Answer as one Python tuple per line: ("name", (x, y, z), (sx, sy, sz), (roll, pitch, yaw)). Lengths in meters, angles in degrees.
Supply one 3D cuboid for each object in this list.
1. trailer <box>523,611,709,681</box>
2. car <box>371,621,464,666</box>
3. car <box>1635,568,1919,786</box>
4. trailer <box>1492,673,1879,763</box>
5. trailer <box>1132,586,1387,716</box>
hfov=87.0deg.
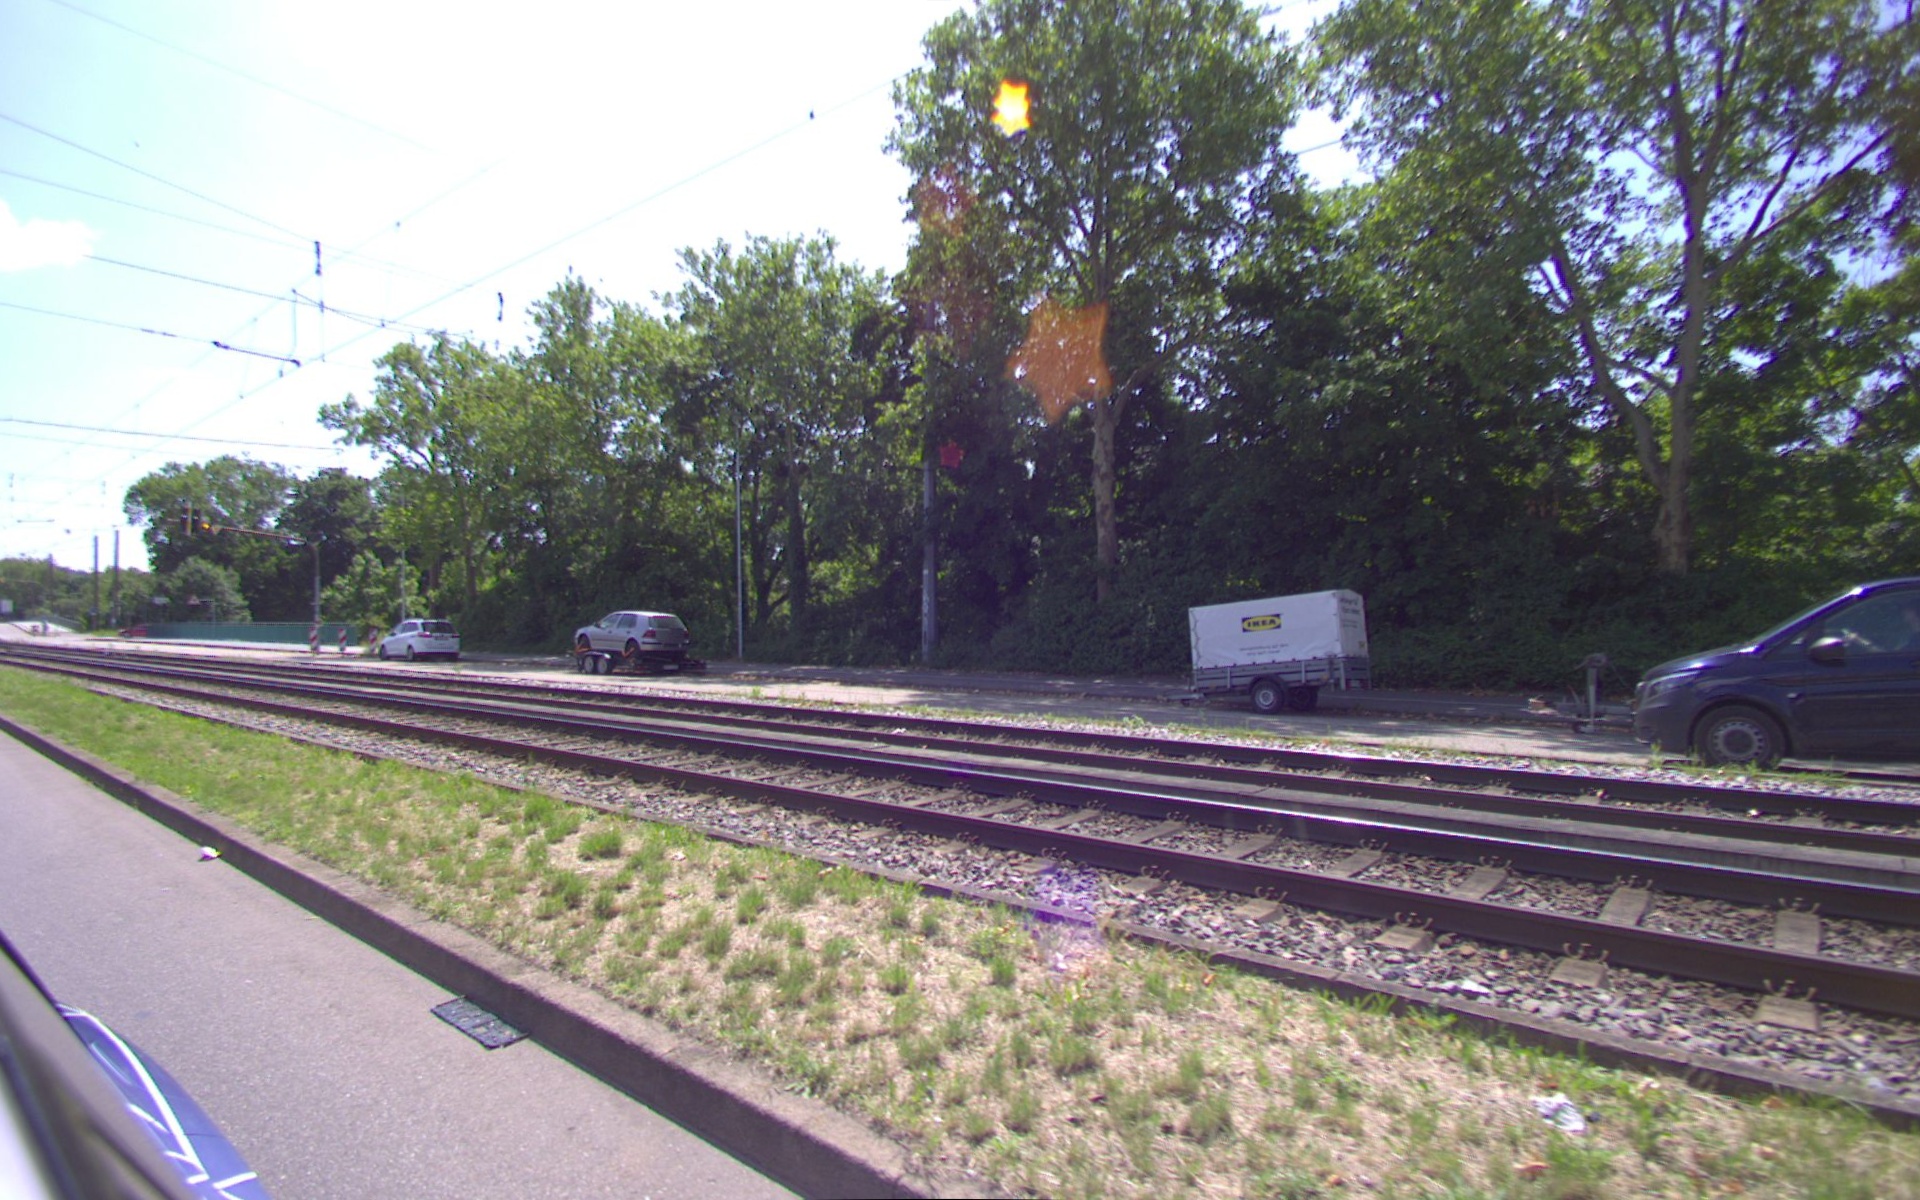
("trailer", (-10.537, 1.339, 30.751), (5.952, 1.903, 2.439), (-1, -1, 37))
("car", (-21.933, 1.772, 40.829), (4.612, 1.643, 1.702), (-3, -2, 40))
("car", (9.166, 0.623, 8.671), (5.402, 1.804, 2.095), (-1, -1, 41))
("trailer", (9.575, 1.491, 13.575), (3.998, 0.748, 1.973), (0, -1, 41))
("trailer", (5.153, 0.839, 17.657), (3.911, 2.029, 1.594), (-2, -1, 39))
